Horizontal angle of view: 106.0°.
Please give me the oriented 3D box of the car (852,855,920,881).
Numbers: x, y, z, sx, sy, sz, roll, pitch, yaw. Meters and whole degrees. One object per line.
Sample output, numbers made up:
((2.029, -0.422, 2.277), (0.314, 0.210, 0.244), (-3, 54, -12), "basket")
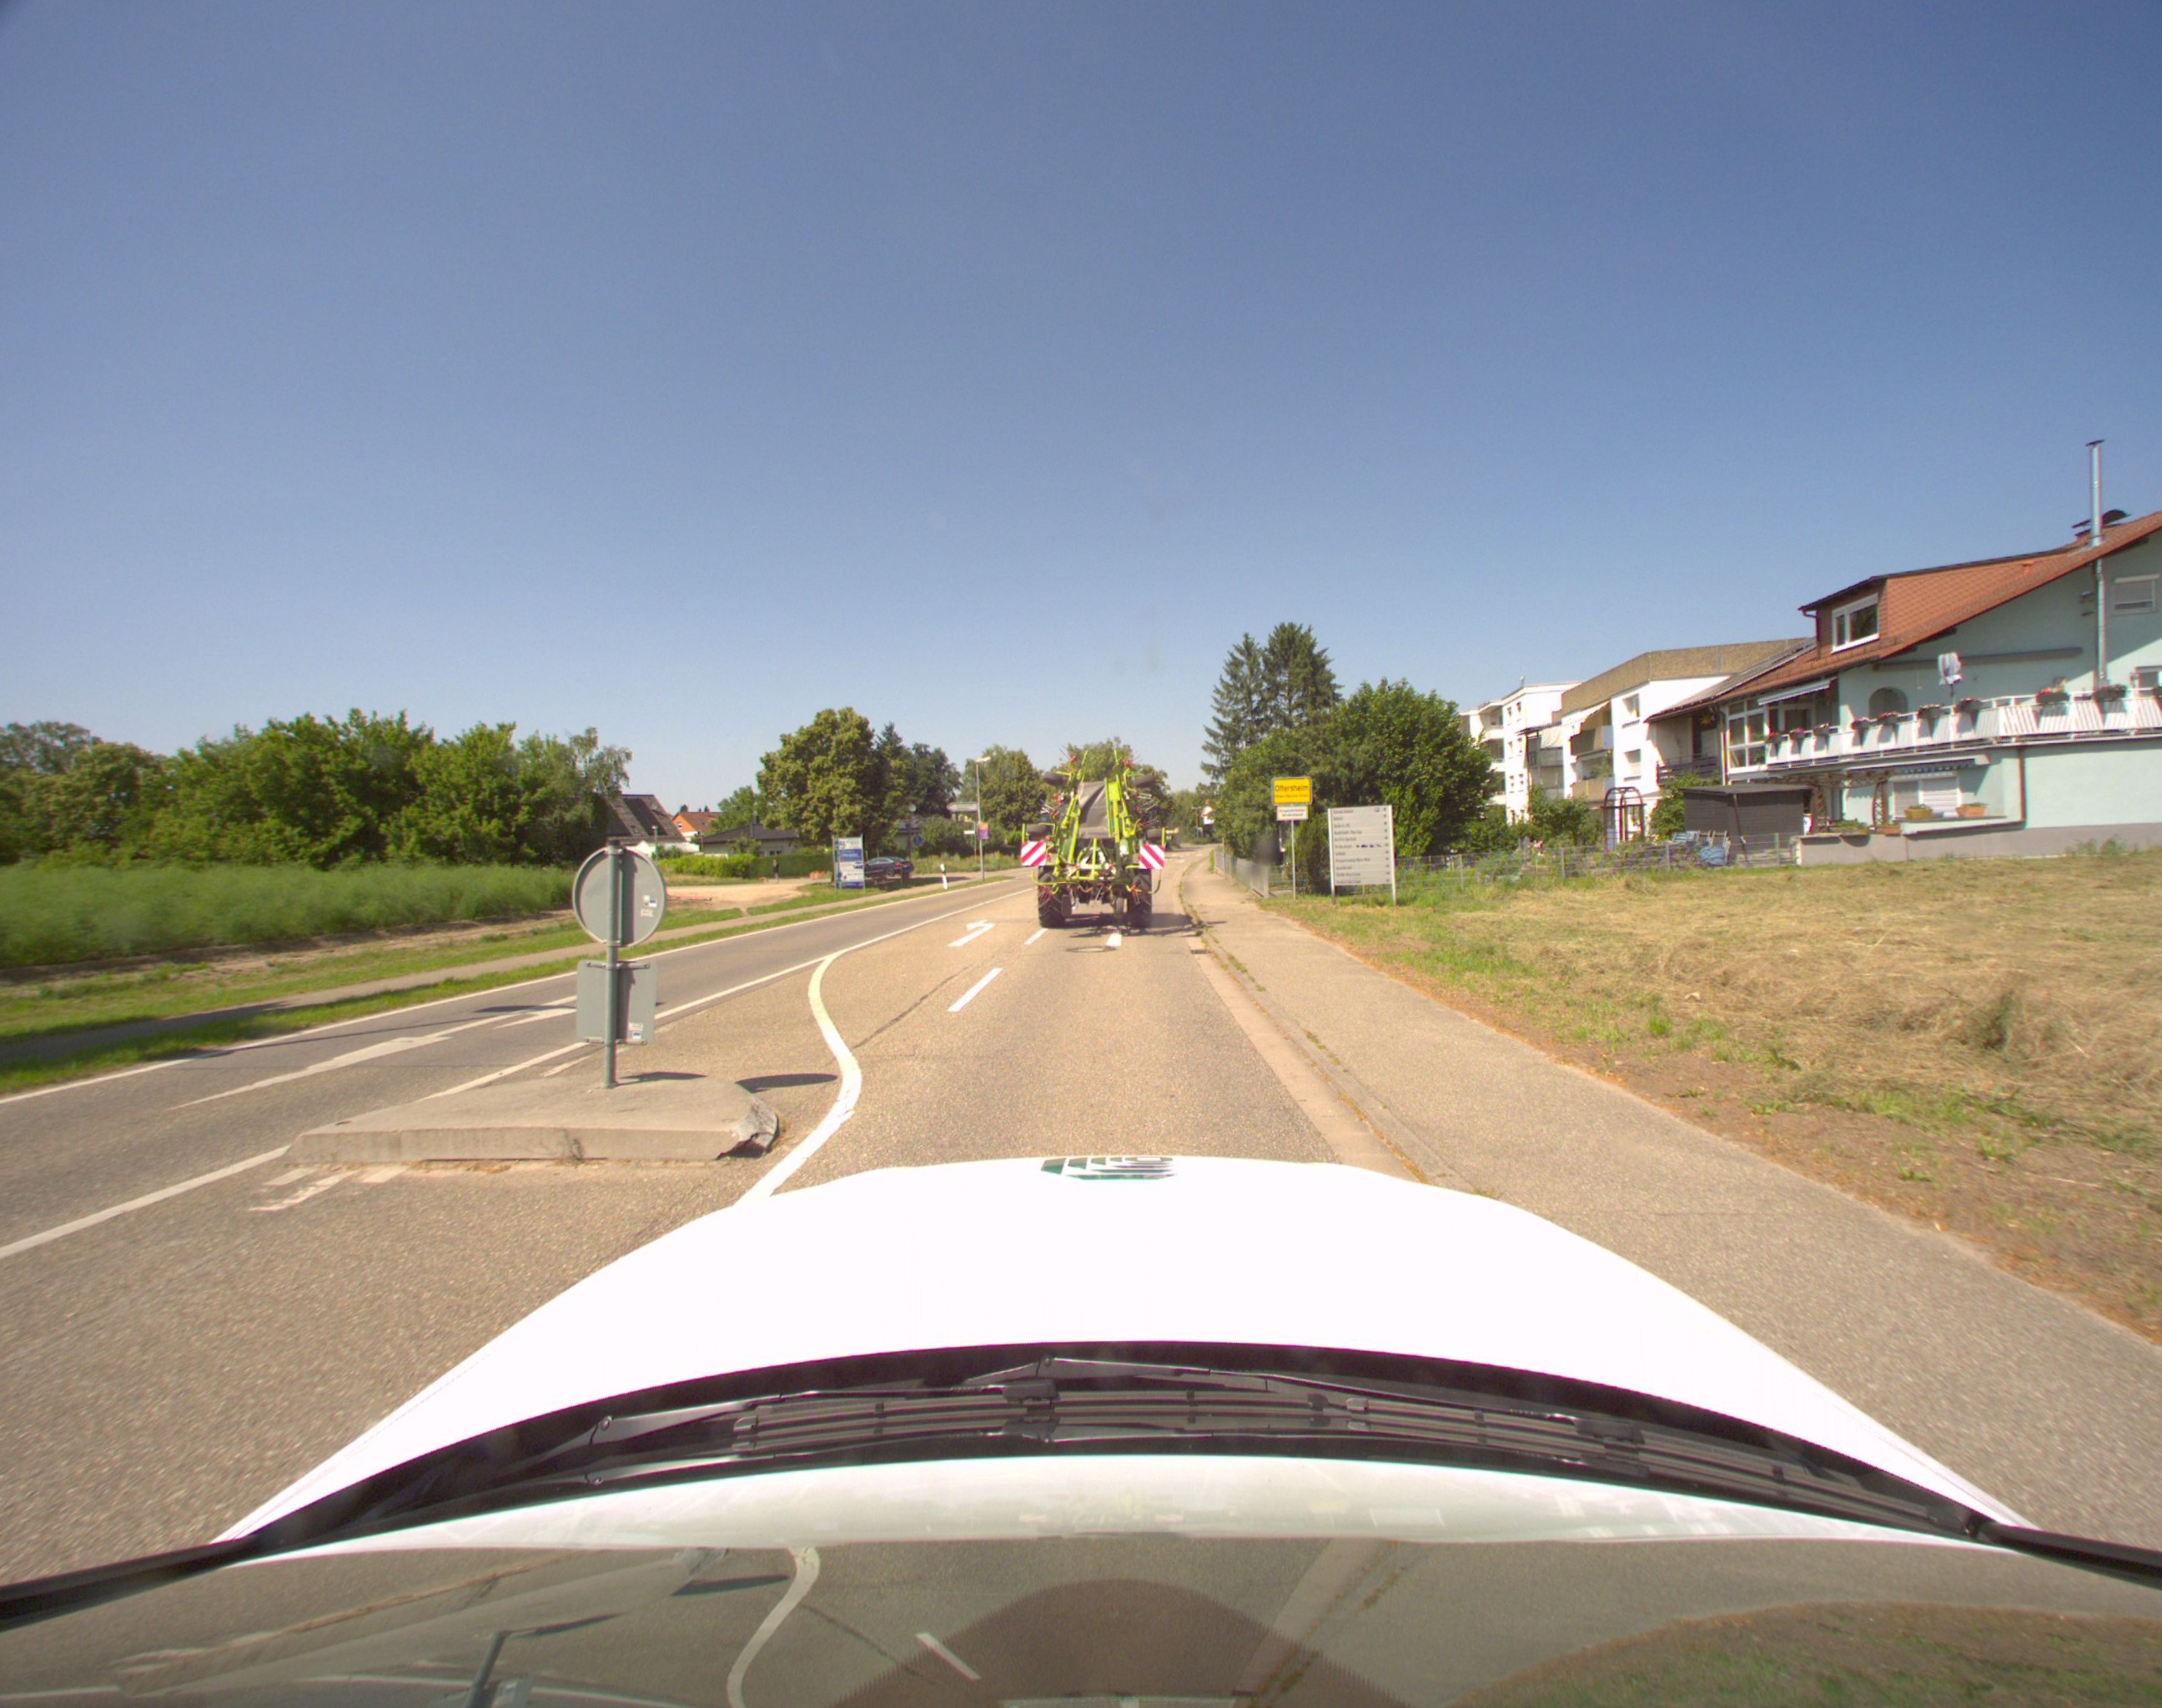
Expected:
((-13.404, 0.983, 56.057), (4.056, 1.519, 2.009), (-3, 0, 15), "car")

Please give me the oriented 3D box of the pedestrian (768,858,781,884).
((-20.845, 1.172, 55.339), (0.679, 1.716, 0.545), (-2, 1, -34), "pedestrian")

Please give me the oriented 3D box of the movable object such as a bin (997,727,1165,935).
((0.357, -0.456, 19.035), (2.840, 3.541, 9.712), (-1, 1, 4), "movable object such as a bin")
